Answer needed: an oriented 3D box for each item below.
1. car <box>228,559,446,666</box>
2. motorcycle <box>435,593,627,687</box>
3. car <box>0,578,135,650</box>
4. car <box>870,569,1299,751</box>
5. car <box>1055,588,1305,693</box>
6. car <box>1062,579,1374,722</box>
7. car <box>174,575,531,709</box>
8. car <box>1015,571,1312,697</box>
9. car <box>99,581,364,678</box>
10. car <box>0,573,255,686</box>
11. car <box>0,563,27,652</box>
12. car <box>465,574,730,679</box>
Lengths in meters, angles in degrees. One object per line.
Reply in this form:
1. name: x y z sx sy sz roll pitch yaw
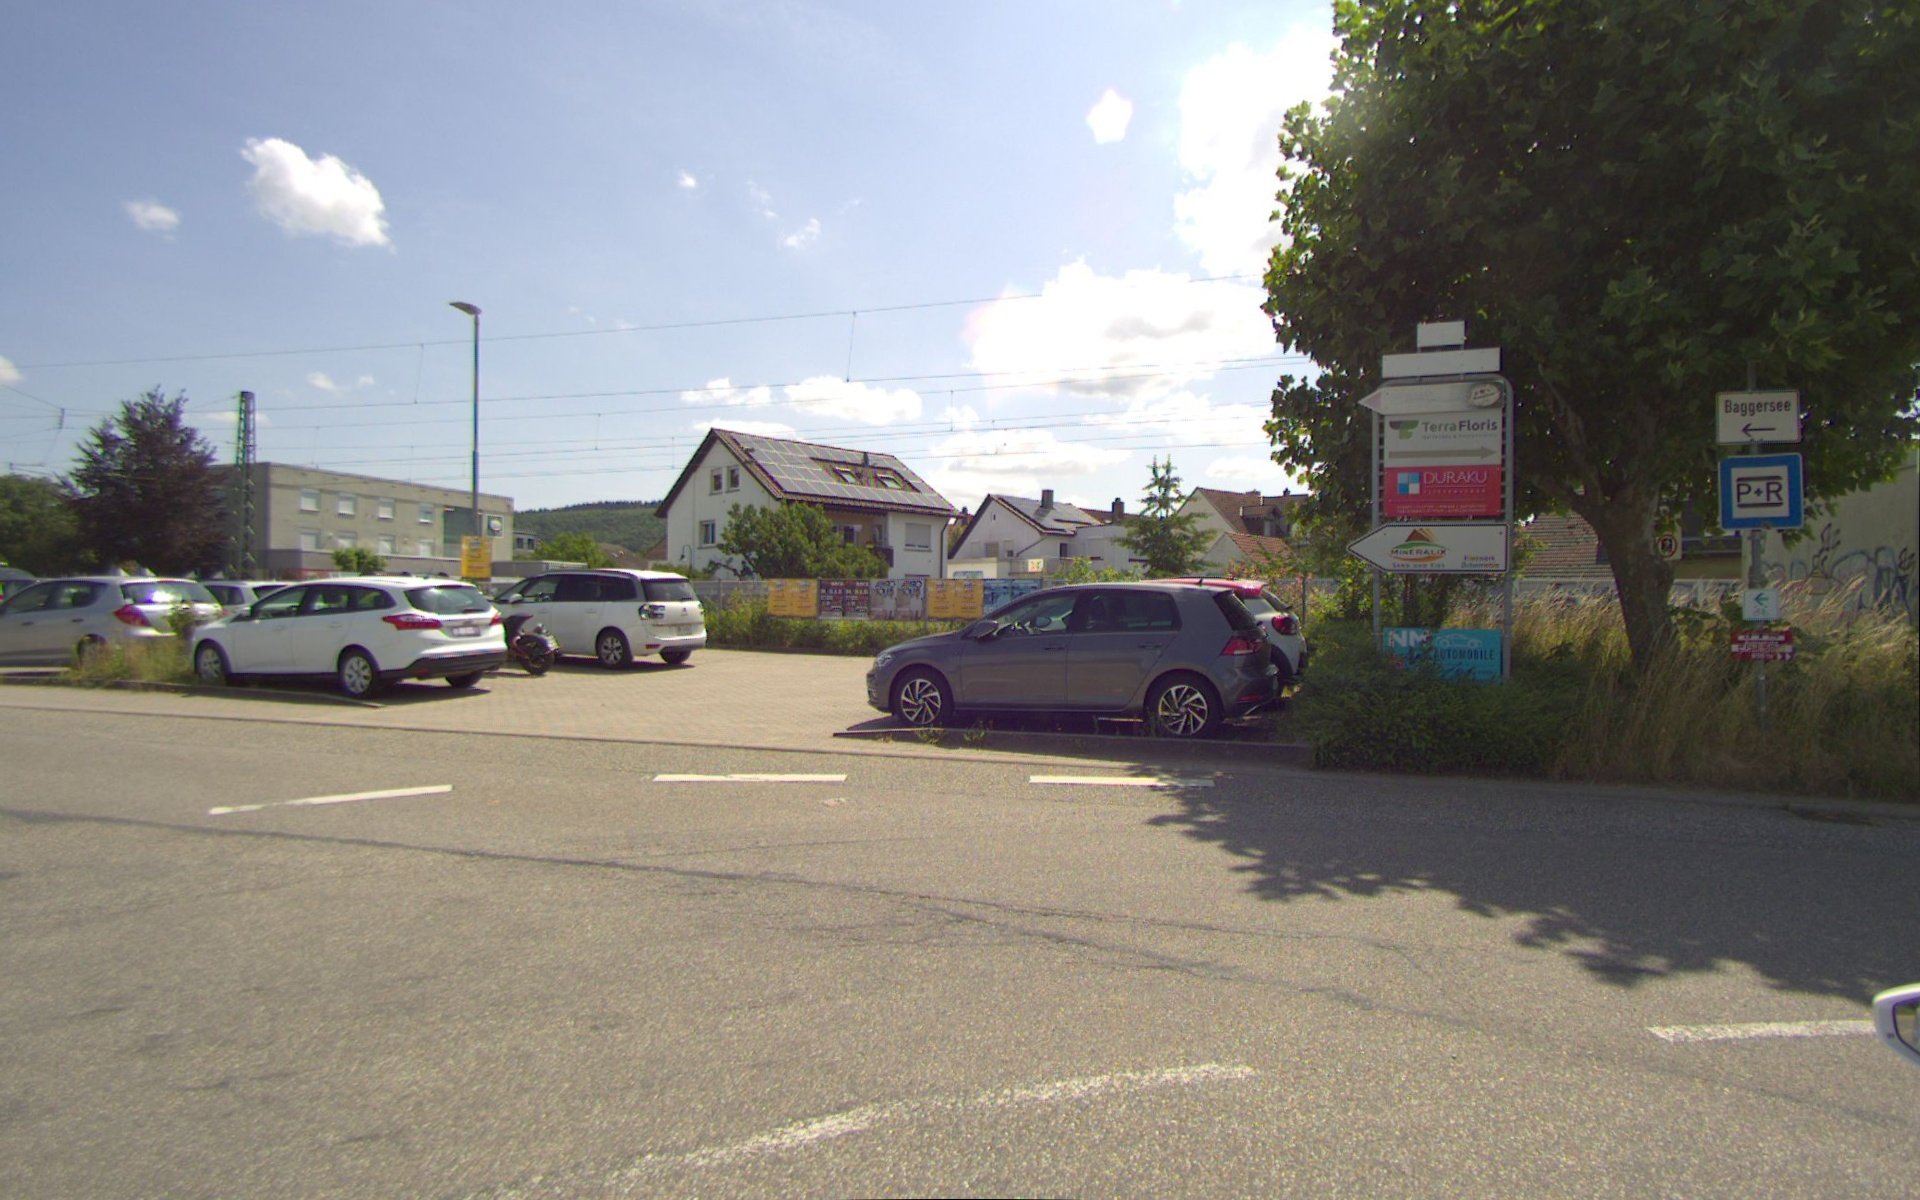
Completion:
1. car: -12.841 0.246 20.729 3.922 2.040 1.851 0 0 22
2. motorcycle: -6.777 0.602 15.824 3.150 1.391 0.739 0 -1 21
3. car: -22.307 0.312 24.218 4.189 1.630 1.954 0 -1 22
4. car: 1.258 0.515 10.141 3.984 1.551 1.690 0 -1 23
5. car: 3.884 0.655 17.619 4.007 1.659 1.999 0 -1 22
6. car: 3.207 0.550 12.411 3.509 1.557 1.796 0 -1 23
7. car: -8.084 0.498 13.421 4.178 1.585 1.809 0 -1 19
8. car: 3.052 0.449 14.943 4.007 1.659 1.999 0 -1 23
9. car: -12.990 0.484 17.936 4.179 1.585 1.806 0 -1 20
10. car: -13.117 0.407 15.280 3.880 1.565 1.797 0 -1 14
11. car: -21.784 0.134 20.972 3.760 1.857 1.954 0 -1 22
12. car: -6.425 0.402 17.845 4.180 1.680 1.999 1 1 23
